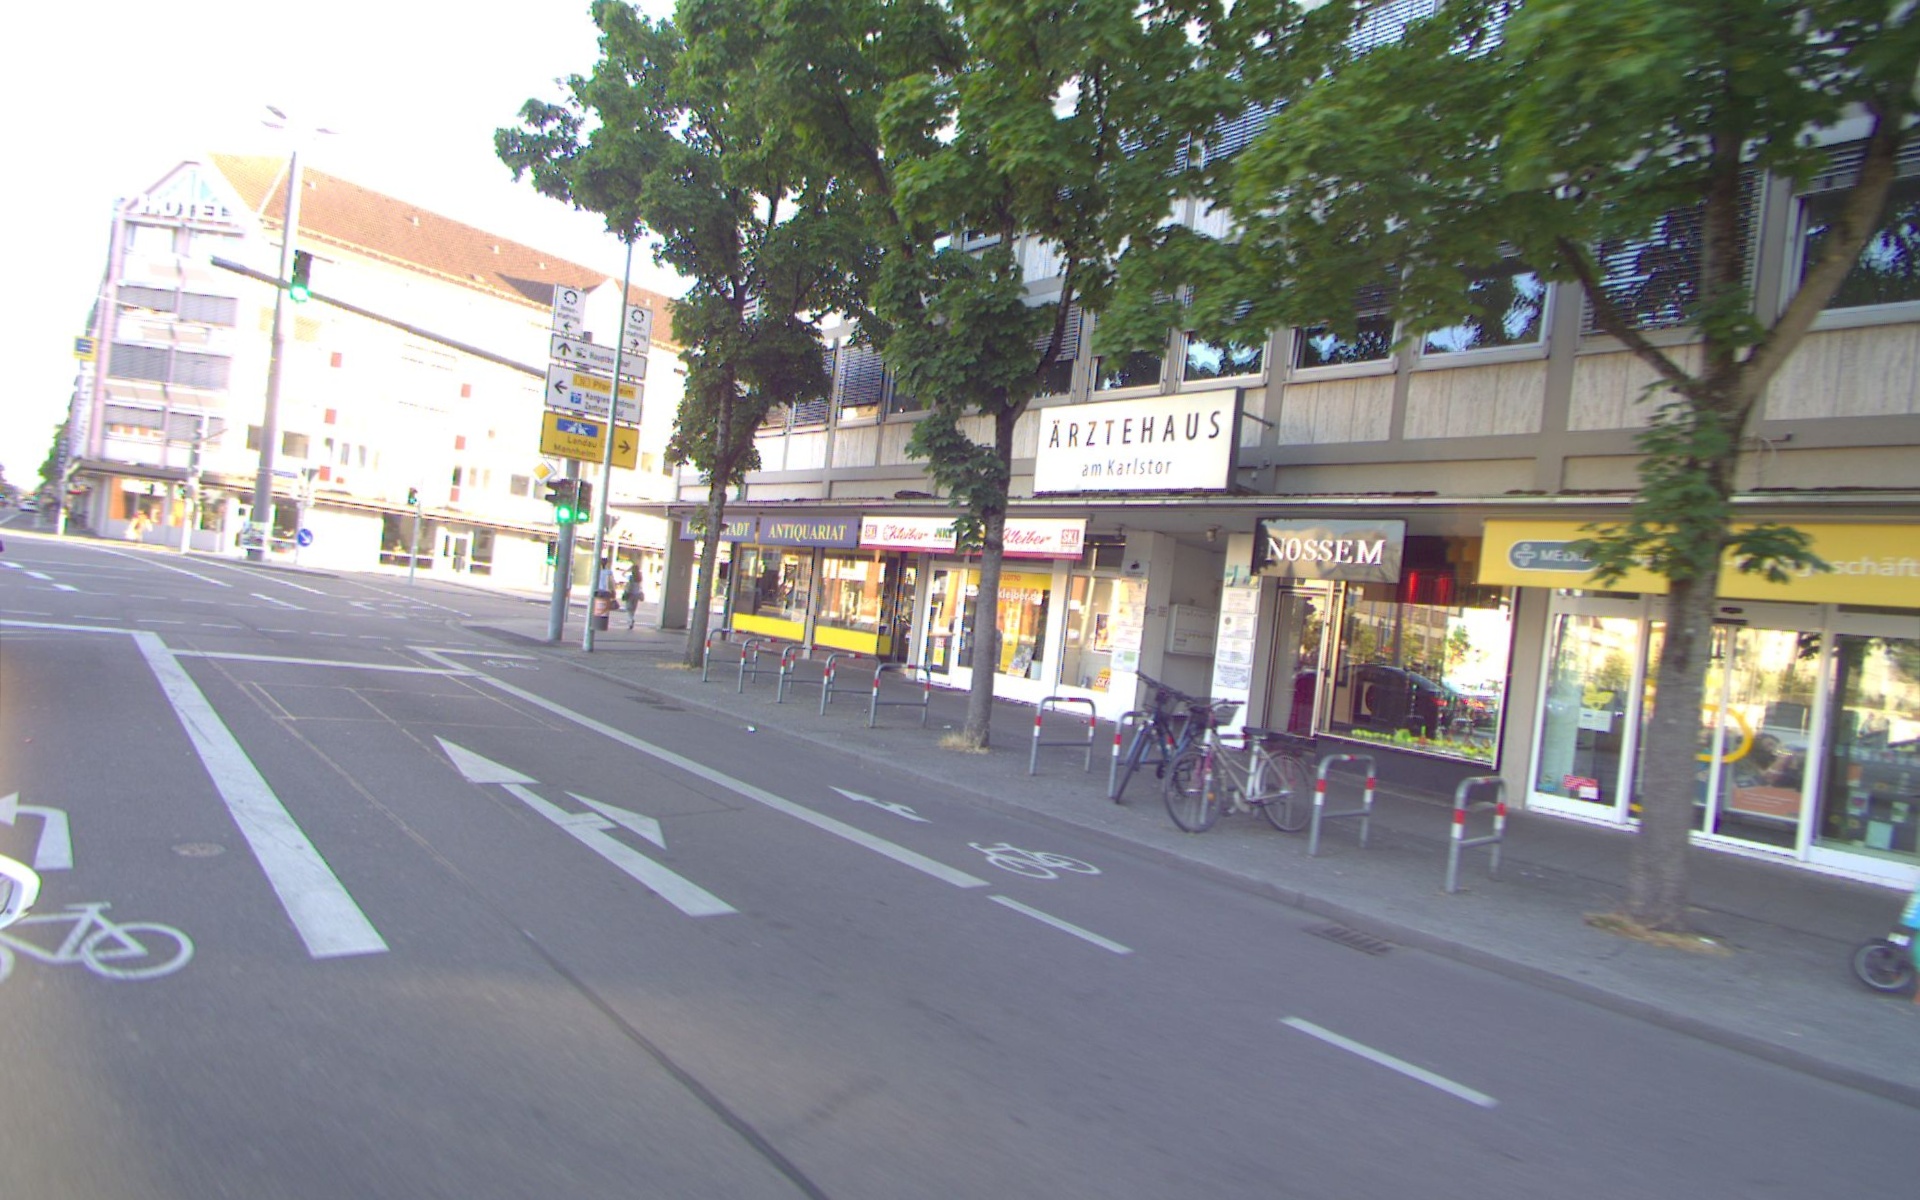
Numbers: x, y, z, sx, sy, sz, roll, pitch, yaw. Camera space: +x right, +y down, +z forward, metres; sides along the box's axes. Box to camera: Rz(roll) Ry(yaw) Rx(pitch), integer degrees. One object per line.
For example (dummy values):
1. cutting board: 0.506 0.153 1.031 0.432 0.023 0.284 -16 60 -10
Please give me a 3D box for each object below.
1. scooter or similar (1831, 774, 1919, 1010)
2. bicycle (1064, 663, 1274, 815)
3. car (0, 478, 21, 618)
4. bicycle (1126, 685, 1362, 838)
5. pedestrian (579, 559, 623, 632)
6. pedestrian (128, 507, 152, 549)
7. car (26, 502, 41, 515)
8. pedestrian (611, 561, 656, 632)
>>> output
1. scooter or similar: 5.856 1.727 5.797 1.254 1.250 0.338 7 1 -1
2. bicycle: 1.991 1.323 9.475 1.891 1.251 0.662 7 0 -32
3. car: -8.591 -0.314 7.456 3.946 1.603 1.992 7 -2 43
4. bicycle: 2.459 1.396 8.625 1.981 1.124 0.663 7 0 -30
5. pedestrian: -8.868 -0.110 24.829 0.681 1.687 0.663 6 1 -40
6. pedestrian: -38.686 -3.417 47.466 0.662 1.877 0.683 7 1 43
7. car: -133.603 -13.193 145.025 1.468 1.533 3.057 7 0 -44
8. pedestrian: -8.322 -0.091 25.641 0.720 1.687 0.663 6 1 -40
